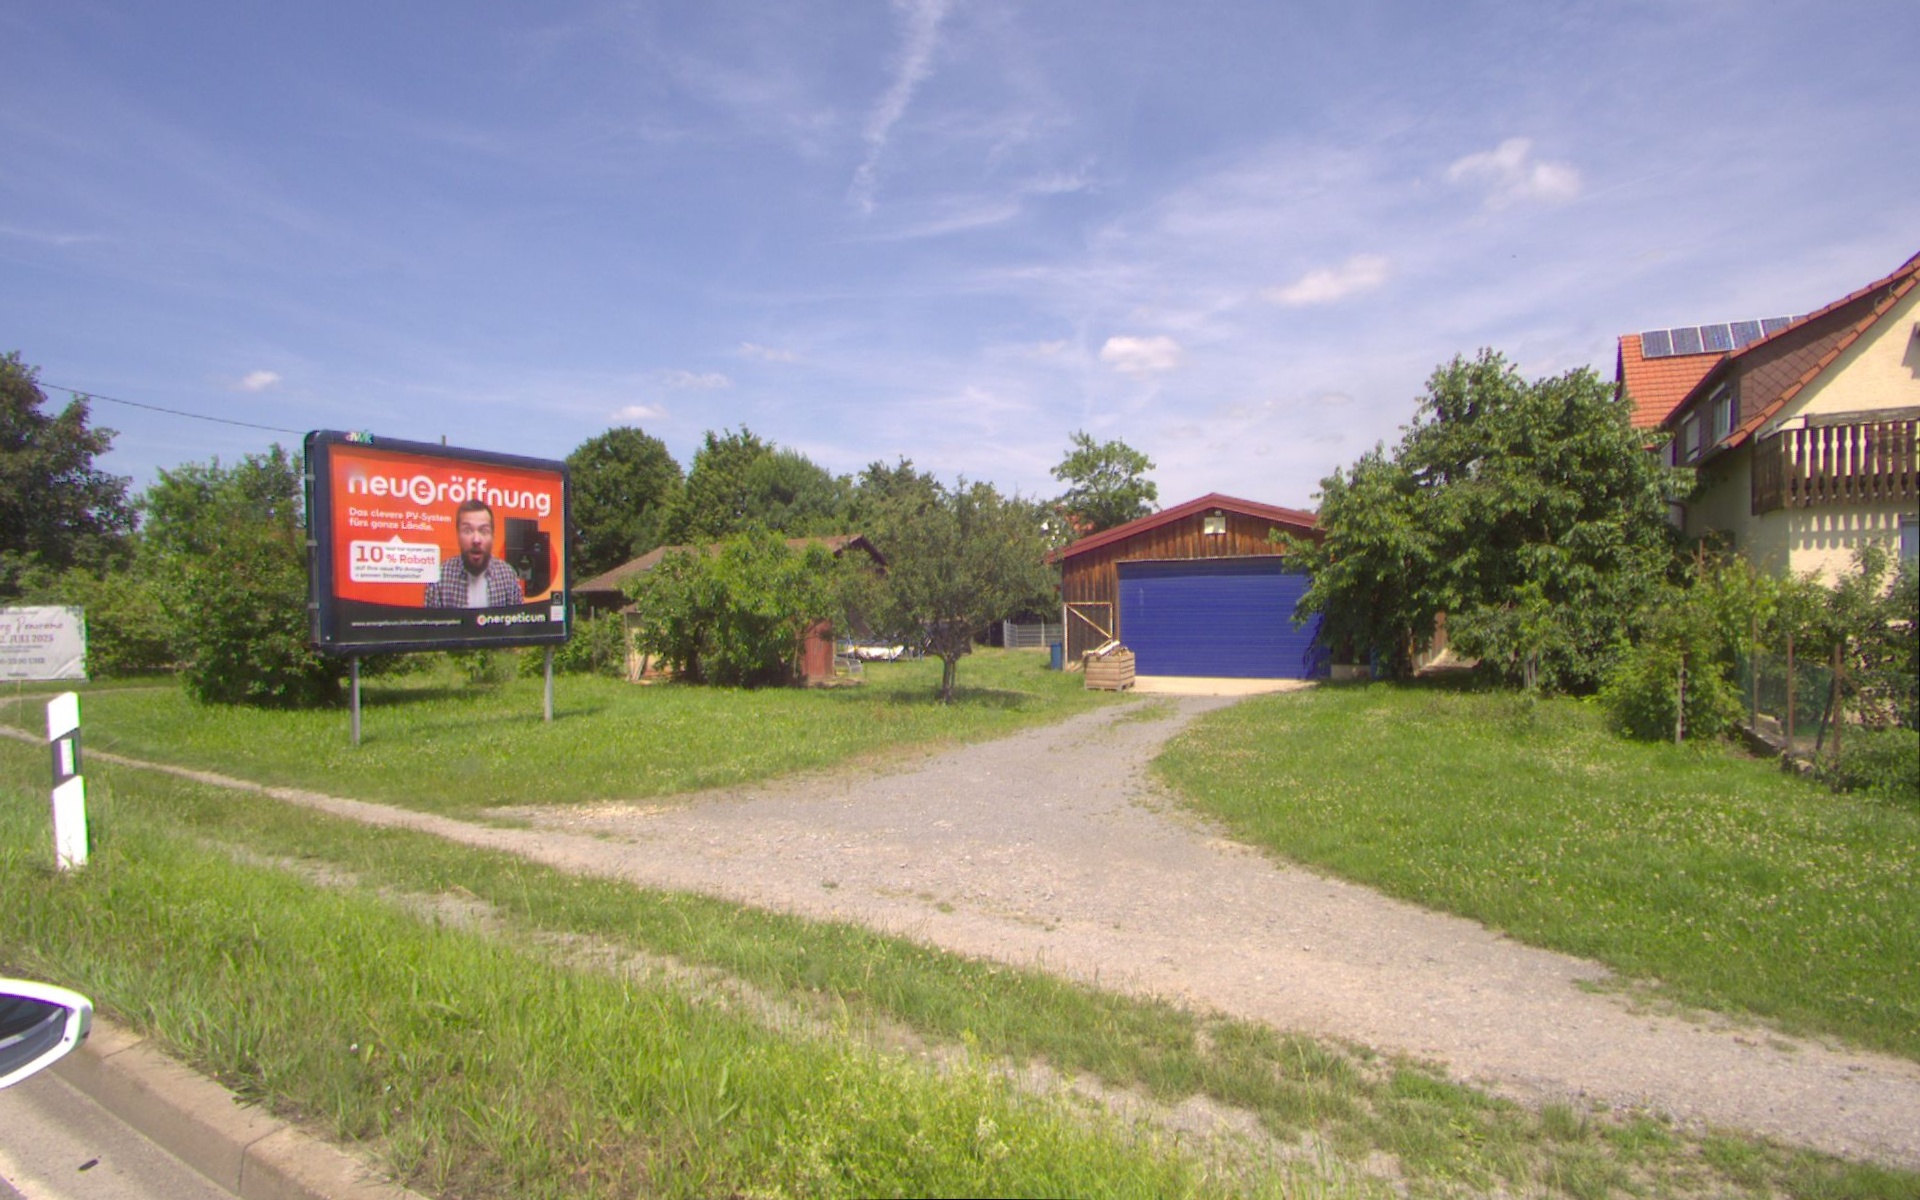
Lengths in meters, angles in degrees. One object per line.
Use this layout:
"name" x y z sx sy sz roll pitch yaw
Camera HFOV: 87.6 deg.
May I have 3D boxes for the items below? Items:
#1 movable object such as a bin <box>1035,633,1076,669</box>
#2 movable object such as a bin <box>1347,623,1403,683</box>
"movable object such as a bin" 2.912 1.539 30.365 1.044 1.046 1.040 0 -1 17
"movable object such as a bin" 10.122 1.266 24.422 1.049 1.415 1.271 0 -1 33
